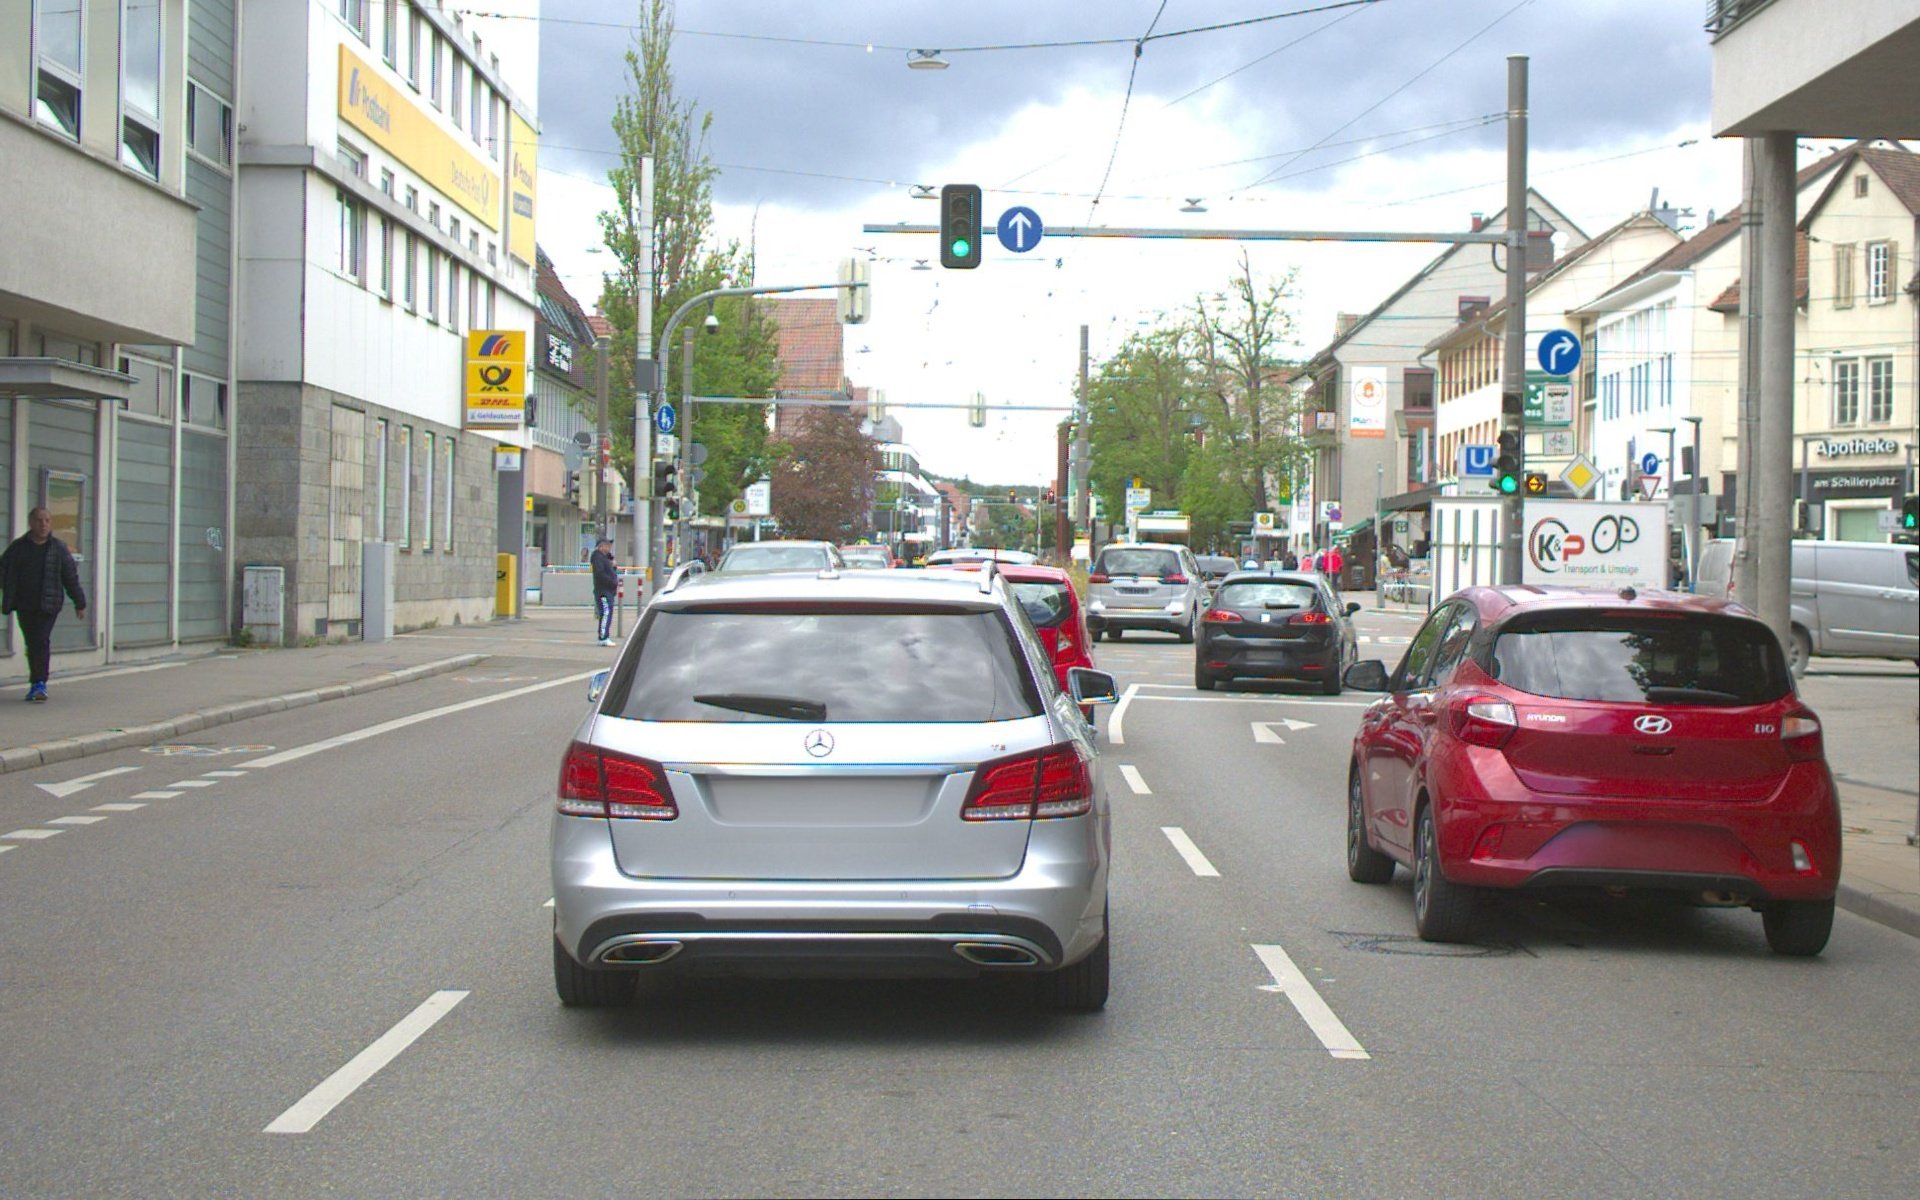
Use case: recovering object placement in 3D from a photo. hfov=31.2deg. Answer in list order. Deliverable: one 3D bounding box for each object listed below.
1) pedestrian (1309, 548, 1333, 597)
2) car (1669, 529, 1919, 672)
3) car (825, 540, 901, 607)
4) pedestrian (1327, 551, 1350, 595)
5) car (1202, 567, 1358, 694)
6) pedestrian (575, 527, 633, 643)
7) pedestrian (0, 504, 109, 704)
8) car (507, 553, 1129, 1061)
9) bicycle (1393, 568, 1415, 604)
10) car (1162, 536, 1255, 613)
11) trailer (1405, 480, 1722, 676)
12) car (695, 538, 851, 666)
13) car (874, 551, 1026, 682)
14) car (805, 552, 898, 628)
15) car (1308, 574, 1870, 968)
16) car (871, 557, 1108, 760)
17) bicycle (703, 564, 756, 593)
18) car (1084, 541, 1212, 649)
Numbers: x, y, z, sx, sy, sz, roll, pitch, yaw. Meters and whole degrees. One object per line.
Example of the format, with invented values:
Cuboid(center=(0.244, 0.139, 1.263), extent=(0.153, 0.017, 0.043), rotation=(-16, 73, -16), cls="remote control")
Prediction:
Cuboid(center=(12.558, -0.950, 119.565), extent=(0.577, 1.661, 0.651), rotation=(2, 0, -16), cls="pedestrian")
Cuboid(center=(13.349, 0.035, 51.537), extent=(4.889, 1.939, 1.884), rotation=(3, 1, -8), cls="car")
Cuboid(center=(-2.506, -0.704, 89.622), extent=(1.799, 1.689, 3.897), rotation=(0, 1, 1), cls="car")
Cuboid(center=(12.809, -0.929, 116.353), extent=(0.577, 1.464, 0.651), rotation=(2, 0, -11), cls="pedestrian")
Cuboid(center=(3.934, 0.330, 41.824), extent=(1.735, 1.406, 3.999), rotation=(1, 1, 7), cls="car")
Cuboid(center=(-5.376, -0.229, 51.886), extent=(0.648, 1.712, 0.782), rotation=(2, 1, 8), cls="pedestrian")
Cuboid(center=(-8.137, 0.025, 30.526), extent=(0.861, 1.712, 1.032), rotation=(2, 1, -2), cls="pedestrian")
Cuboid(center=(-0.482, 0.592, 12.372), extent=(1.845, 1.503, 4.171), rotation=(1, 1, -2), cls="car")
Cuboid(center=(14.111, -0.449, 109.360), extent=(0.448, 1.103, 2.149), rotation=(1, 1, 1), cls="bicycle")
Cuboid(center=(5.893, -0.626, 81.924), extent=(1.828, 1.779, 4.000), rotation=(1, 1, -1), cls="car")
Cuboid(center=(8.832, -0.311, 50.195), extent=(4.309, 2.604, 1.884), rotation=(3, 1, -34), cls="trailer")
Cuboid(center=(-2.467, -0.008, 46.326), extent=(1.776, 1.626, 4.768), rotation=(0, 1, 1), cls="car")
Cuboid(center=(-0.168, 0.165, 41.985), extent=(1.734, 1.503, 4.000), rotation=(1, 1, -2), cls="car")
Cuboid(center=(-2.132, -0.228, 68.396), extent=(1.657, 1.461, 3.920), rotation=(0, 1, 1), cls="car")
Cuboid(center=(2.694, 0.661, 15.617), extent=(1.698, 1.447, 4.000), rotation=(3, 1, -1), cls="car")
Cuboid(center=(0.176, 0.423, 28.170), extent=(1.734, 1.503, 4.000), rotation=(1, 1, -2), cls="car")
Cuboid(center=(-8.792, -0.823, 131.108), extent=(1.937, 1.025, 0.530), rotation=(2, 0, -9), cls="bicycle")
Cuboid(center=(3.231, -0.109, 58.608), extent=(1.735, 1.753, 3.998), rotation=(1, 1, 9), cls="car")
